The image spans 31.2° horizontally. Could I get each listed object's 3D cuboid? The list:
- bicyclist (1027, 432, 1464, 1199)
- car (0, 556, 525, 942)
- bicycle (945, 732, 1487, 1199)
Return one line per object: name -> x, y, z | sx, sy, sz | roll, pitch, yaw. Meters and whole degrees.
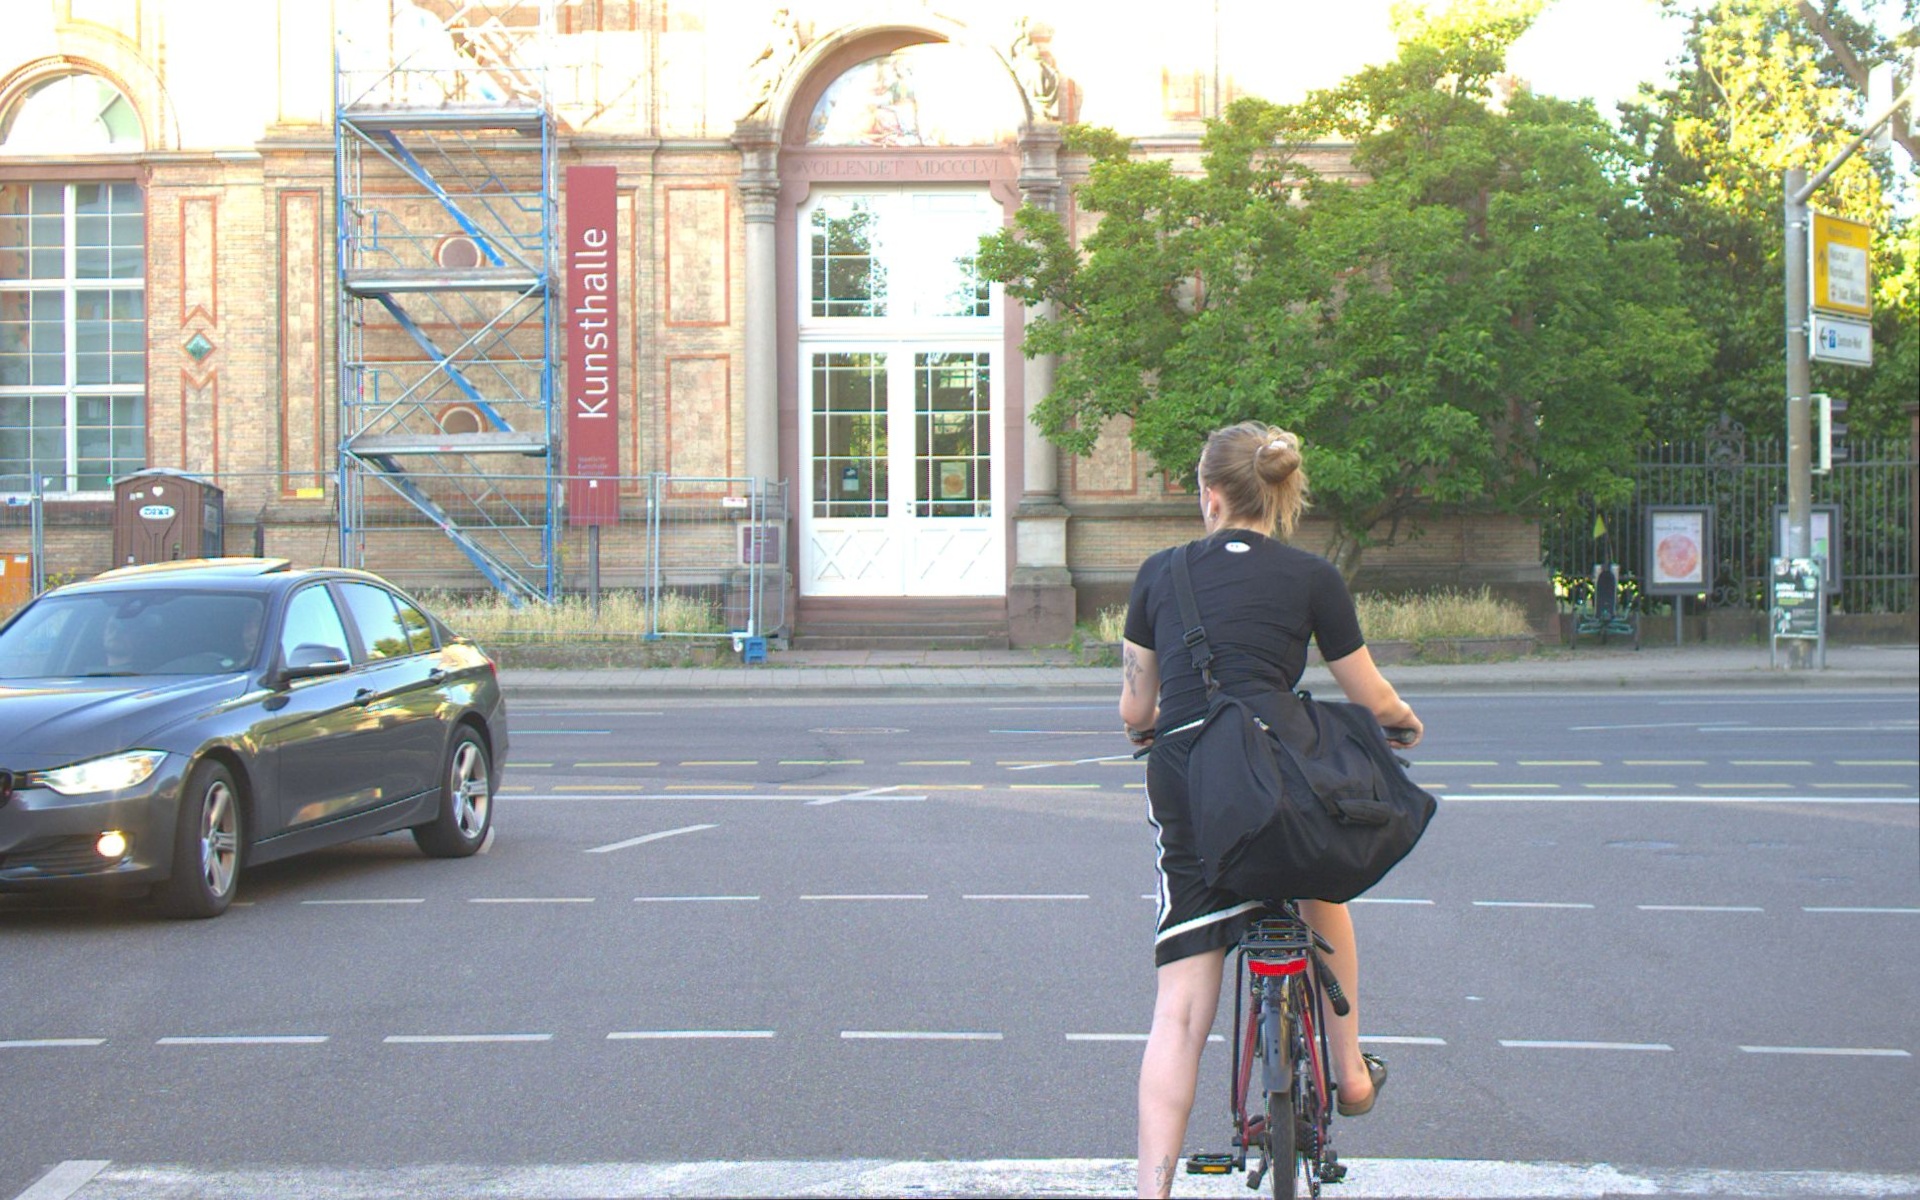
bicyclist -> 0.577, 0.451, 6.712 | 0.716, 1.497, 0.850 | 0, -1, 14
car -> -3.606, 0.553, 15.395 | 1.783, 1.454, 4.420 | -1, 1, 14
bicycle -> 0.571, 0.862, 6.689 | 0.712, 1.152, 2.067 | 0, -1, 14
